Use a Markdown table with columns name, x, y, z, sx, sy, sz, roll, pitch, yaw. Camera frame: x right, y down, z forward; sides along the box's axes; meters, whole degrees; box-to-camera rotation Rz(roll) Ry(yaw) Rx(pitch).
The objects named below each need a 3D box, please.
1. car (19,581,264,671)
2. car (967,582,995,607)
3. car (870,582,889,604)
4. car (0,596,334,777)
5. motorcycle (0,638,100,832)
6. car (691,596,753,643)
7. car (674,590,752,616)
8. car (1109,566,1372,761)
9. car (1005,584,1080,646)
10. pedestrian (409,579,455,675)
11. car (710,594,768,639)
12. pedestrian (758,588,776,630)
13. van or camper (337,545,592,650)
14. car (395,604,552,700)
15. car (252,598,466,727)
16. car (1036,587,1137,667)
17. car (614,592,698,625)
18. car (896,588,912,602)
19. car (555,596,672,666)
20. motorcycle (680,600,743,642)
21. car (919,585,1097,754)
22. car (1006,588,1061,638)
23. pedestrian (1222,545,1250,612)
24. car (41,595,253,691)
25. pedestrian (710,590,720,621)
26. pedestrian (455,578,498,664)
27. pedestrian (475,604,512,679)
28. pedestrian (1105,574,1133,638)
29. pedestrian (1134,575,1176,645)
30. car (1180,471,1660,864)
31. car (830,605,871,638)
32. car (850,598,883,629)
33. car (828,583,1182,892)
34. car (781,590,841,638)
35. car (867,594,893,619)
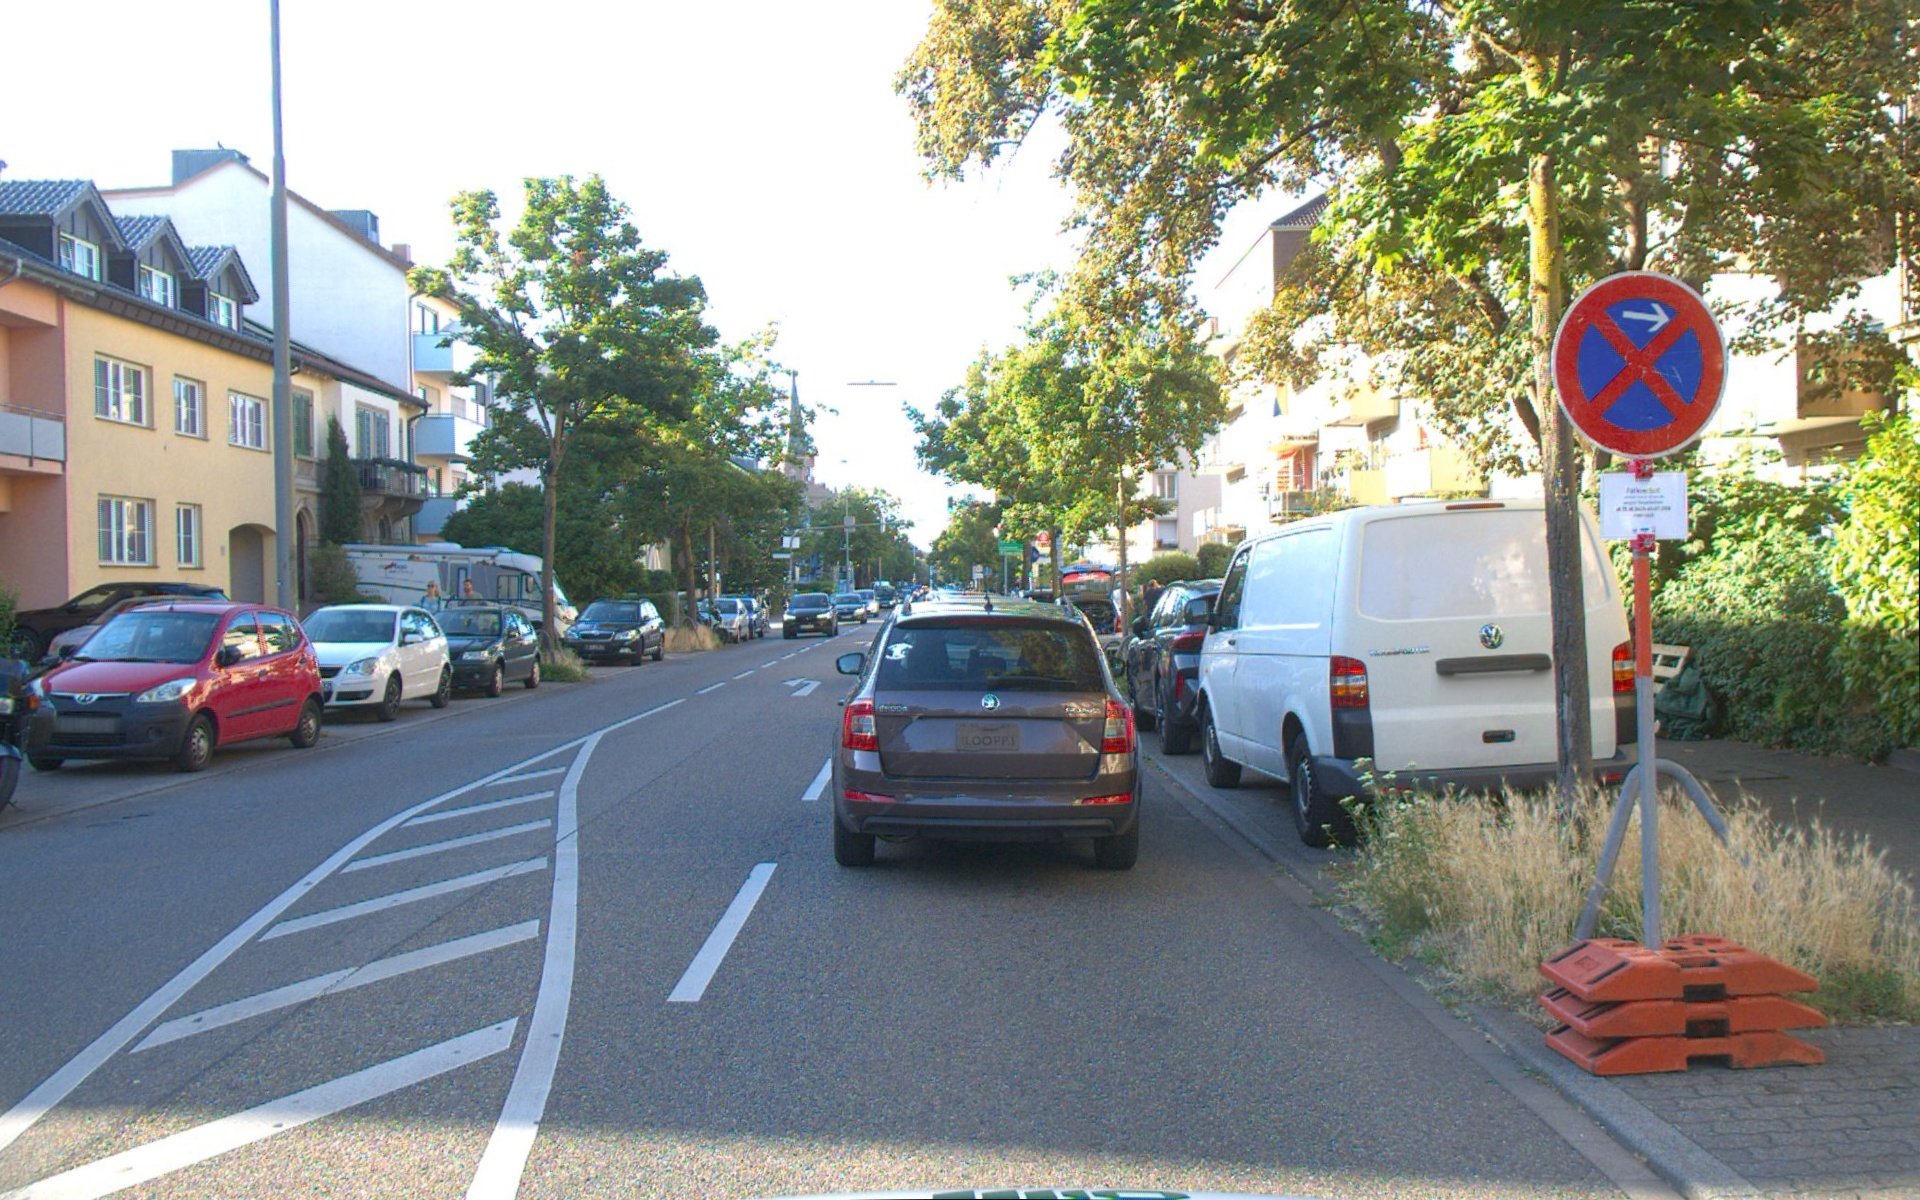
| name | x | y | z | sx | sy | sz | roll | pitch | yaw |
| --- | --- | --- | --- | --- | --- | --- | --- | --- | --- |
| car | -16.189 | 0.504 | 32.849 | 3.905 | 1.664 | 1.866 | 1 | 0 | 0 |
| car | 1.580 | -0.411 | 122.684 | 1.952 | 1.803 | 4.001 | 1 | 0 | 2 |
| car | -9.474 | -0.877 | 194.989 | 1.953 | 2.521 | 3.999 | -1 | 0 | -1 |
| car | -7.645 | 0.757 | 16.258 | 1.560 | 1.550 | 3.437 | -1 | 0 | 2 |
| motorcycle | -7.223 | 0.969 | 12.453 | 1.164 | 1.288 | 2.352 | -1 | 0 | -24 |
| car | -8.007 | 0.629 | 55.907 | 1.561 | 1.496 | 3.803 | 1 | 0 | 0 |
| car | -15.242 | 0.172 | 102.141 | 4.540 | 1.562 | 1.861 | 0 | 0 | -1 |
| car | 2.710 | 0.556 | 16.978 | 1.818 | 1.631 | 4.310 | -3 | 0 | -1 |
| car | 2.326 | 0.399 | 47.667 | 1.818 | 1.609 | 4.012 | -3 | 0 | -1 |
| pedestrian | -10.241 | 0.517 | 32.096 | 0.699 | 1.824 | 0.506 | -1 | 0 | 2 |
| car | -8.052 | 0.579 | 60.536 | 1.615 | 1.544 | 4.073 | 0 | 0 | 0 |
| pedestrian | -9.503 | 0.446 | 81.477 | 0.764 | 2.022 | 0.821 | -1 | 0 | 0 |
| van or camper | -14.351 | -0.083 | 48.201 | 6.660 | 2.821 | 2.351 | 1 | 0 | -2 |
| car | -7.909 | 0.796 | 27.187 | 1.511 | 1.421 | 3.665 | -1 | 0 | -1 |
| car | -8.017 | 0.766 | 22.415 | 1.561 | 1.550 | 3.889 | -1 | 0 | -2 |
| car | 2.630 | 0.522 | 35.229 | 1.673 | 1.506 | 4.267 | -3 | 0 | -1 |
| car | -17.653 | 0.489 | 96.114 | 4.540 | 1.843 | 1.861 | -1 | 0 | -1 |
| car | -6.555 | -0.609 | 193.333 | 1.793 | 1.607 | 4.000 | -1 | 0 | -1 |
| car | -8.096 | 0.678 | 39.066 | 1.829 | 1.520 | 4.517 | 1 | 0 | 0 |
| motorcycle | -7.844 | 0.664 | 52.200 | 2.015 | 1.287 | 0.764 | -1 | 0 | 38 |
| car | 0.472 | 0.661 | 17.977 | 1.701 | 1.598 | 4.000 | 1 | 0 | 0 |
| car | 2.333 | 0.392 | 53.293 | 1.668 | 1.475 | 4.014 | -3 | 0 | 2 |
| pedestrian | 6.941 | -0.535 | 41.611 | 0.467 | 1.668 | 0.533 | -1 | 0 | -20 |
| car | -13.554 | 0.668 | 27.817 | 1.630 | 1.433 | 3.753 | -2 | 0 | 1 |
| pedestrian | -14.332 | 0.327 | 96.763 | 0.440 | 1.828 | 0.504 | -1 | 0 | 0 |
| pedestrian | -10.340 | 0.446 | 35.375 | 0.699 | 1.824 | 0.572 | -1 | 0 | 2 |
| pedestrian | -9.720 | 0.854 | 34.445 | 0.577 | 1.522 | 0.542 | -1 | 0 | 2 |
| pedestrian | 4.495 | 0.168 | 46.717 | 0.649 | 1.779 | 0.772 | -2 | 0 | 0 |
| pedestrian | 4.705 | 0.241 | 39.980 | 0.742 | 1.668 | 0.693 | -1 | 0 | 36 |
| car | 2.863 | 0.358 | 11.484 | 1.865 | 2.140 | 4.639 | -1 | 0 | -2 |
| car | -5.442 | 1.051 | 82.434 | 1.725 | 1.477 | 4.533 | -3 | 0 | -1 |
| car | -5.823 | 0.817 | 103.225 | 1.769 | 1.836 | 4.745 | -3 | 0 | -1 |
| car | 0.185 | 0.663 | 10.288 | 1.737 | 1.515 | 4.310 | 0 | 0 | -1 |
| car | -5.421 | 0.500 | 60.560 | 1.798 | 1.597 | 3.999 | -3 | 0 | -1 |
| car | -6.637 | 0.553 | 137.655 | 1.953 | 1.942 | 4.963 | -3 | 0 | -1 |
